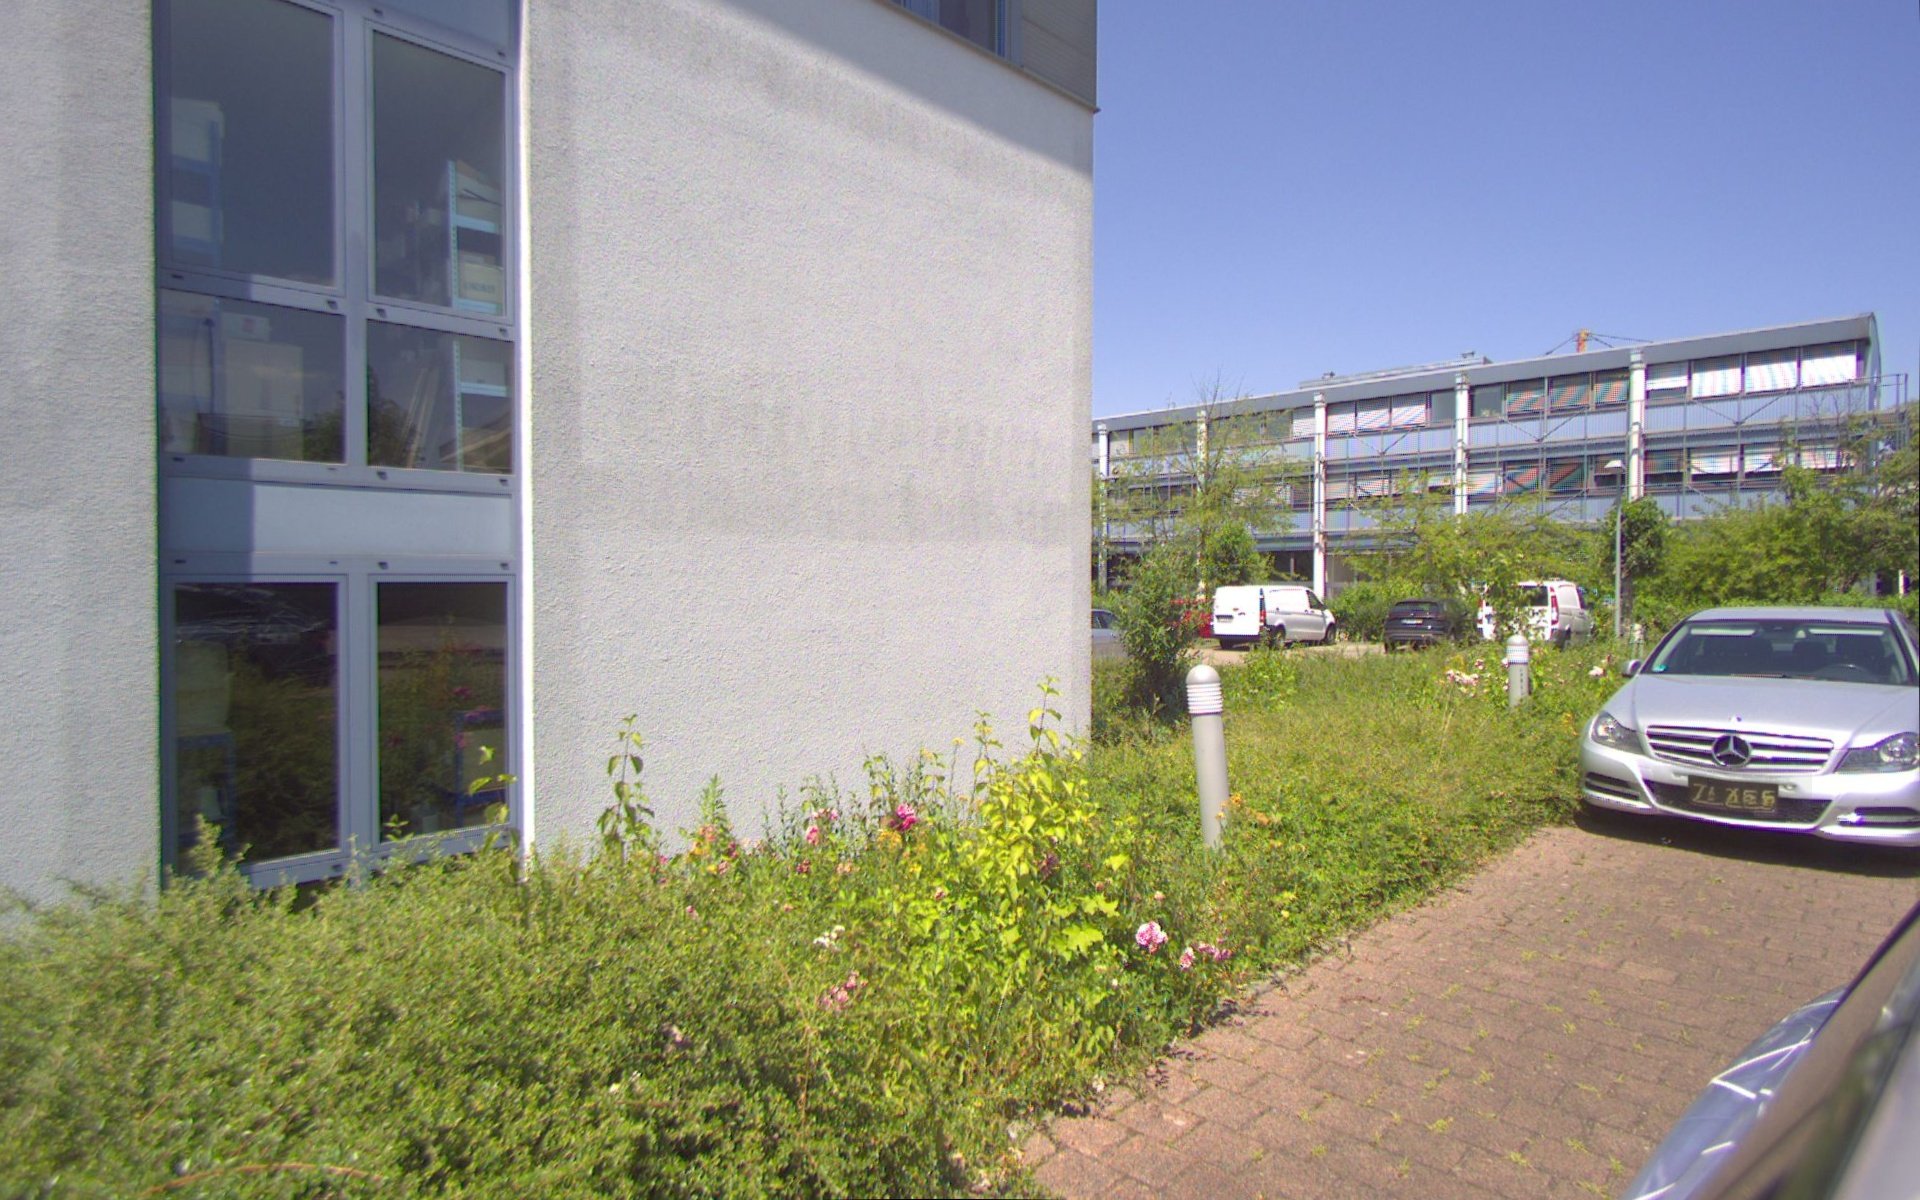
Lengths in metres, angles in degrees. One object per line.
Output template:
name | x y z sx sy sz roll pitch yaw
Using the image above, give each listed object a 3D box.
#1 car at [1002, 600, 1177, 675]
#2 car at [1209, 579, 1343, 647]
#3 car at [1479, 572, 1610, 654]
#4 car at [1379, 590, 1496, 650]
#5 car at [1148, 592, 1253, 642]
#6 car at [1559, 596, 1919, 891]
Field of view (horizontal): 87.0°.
car | 3.088 0.794 23.502 1.850 1.539 4.358 -1 0 43
car | 9.700 0.339 30.846 4.855 1.879 1.851 -1 0 -45
car | 14.845 0.267 25.587 1.862 1.883 4.605 -1 0 43
car | 13.191 0.499 27.870 1.733 1.503 4.133 -1 0 43
car | 8.064 0.536 33.734 3.857 1.507 1.620 -1 0 -45
car | 5.898 0.711 7.084 4.346 1.415 1.801 -1 1 -43
